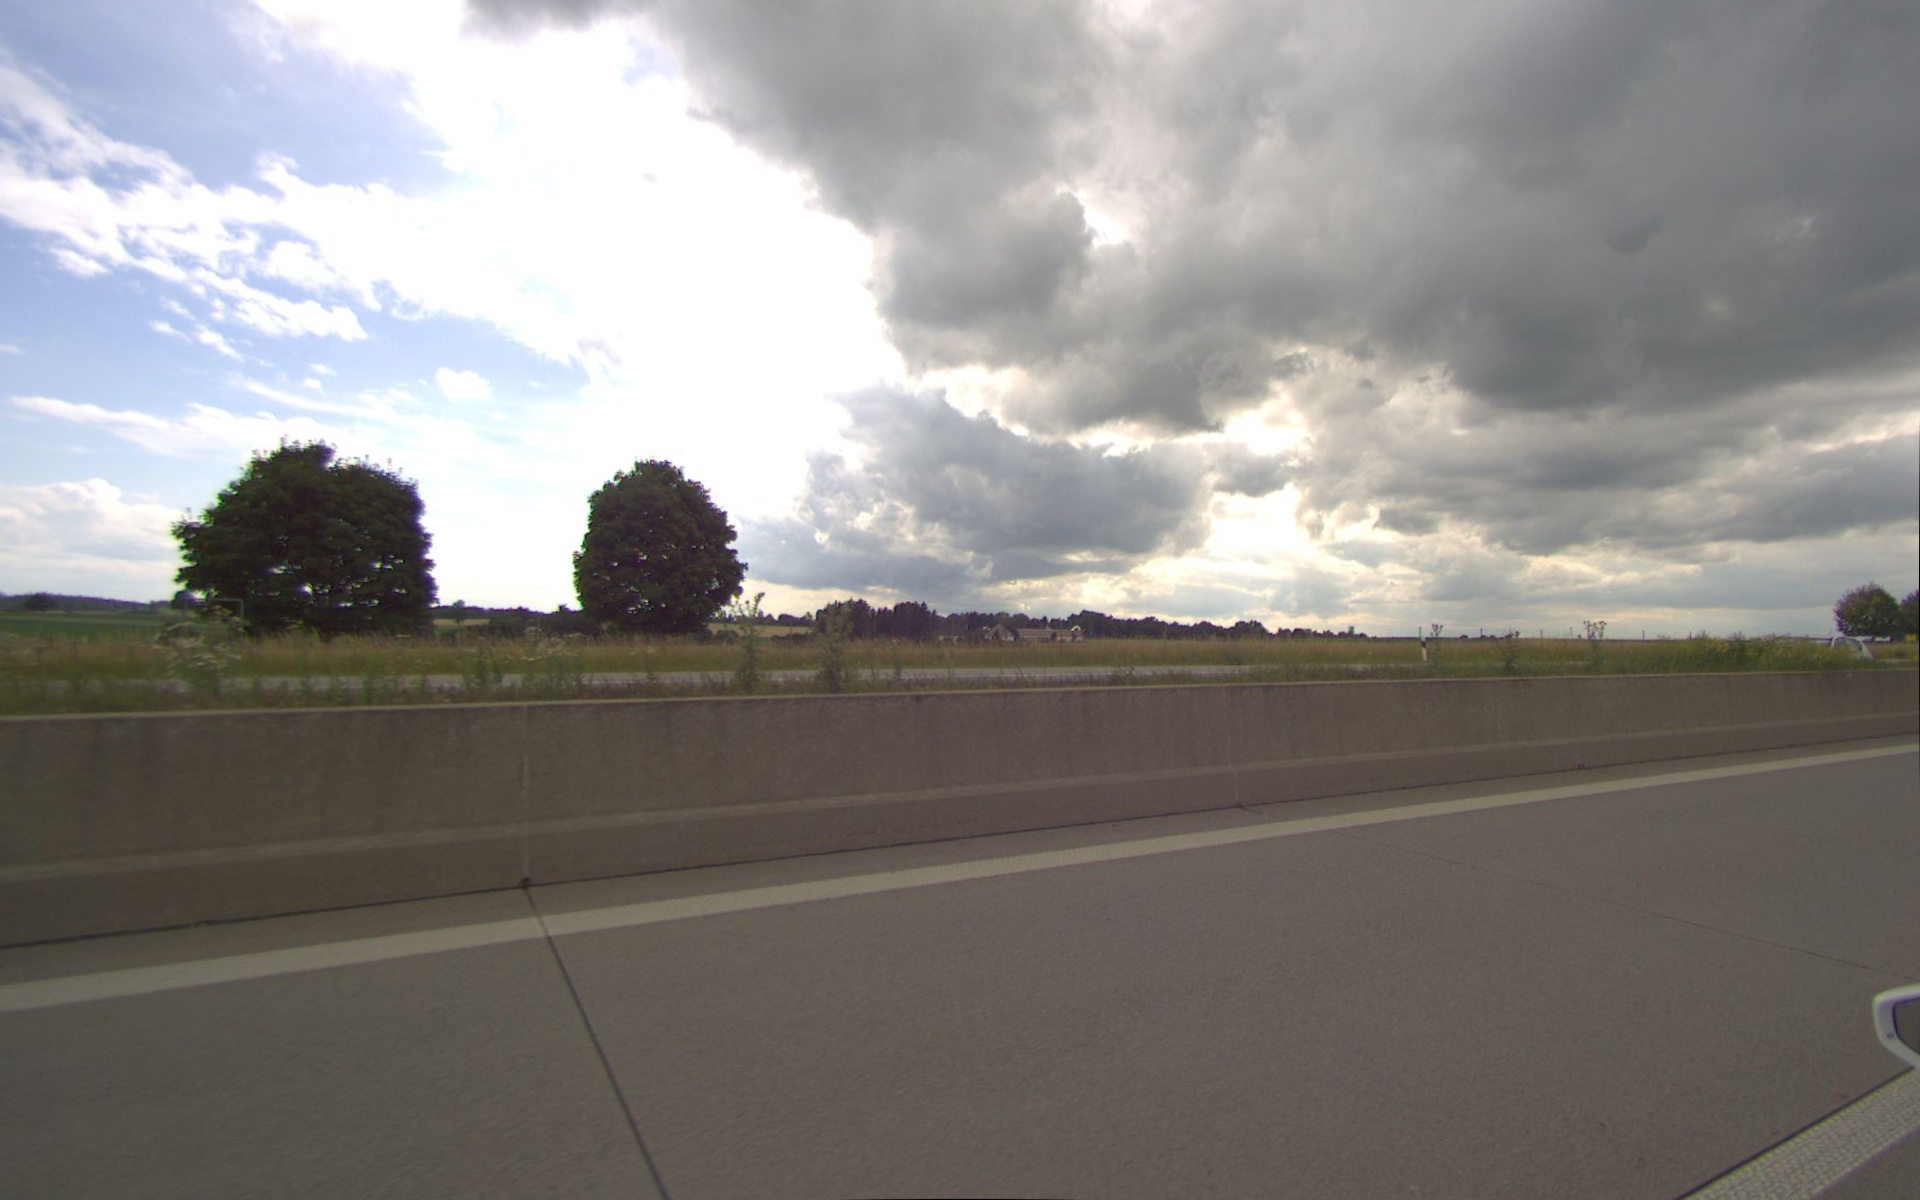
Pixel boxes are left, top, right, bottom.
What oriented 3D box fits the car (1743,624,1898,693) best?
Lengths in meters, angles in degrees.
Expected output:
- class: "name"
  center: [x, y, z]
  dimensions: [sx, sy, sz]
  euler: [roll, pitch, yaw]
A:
- class: "car"
  center: [22.903, 1.541, 26.720]
  dimensions: [3.953, 1.657, 1.915]
  euler: [2, 0, -30]
